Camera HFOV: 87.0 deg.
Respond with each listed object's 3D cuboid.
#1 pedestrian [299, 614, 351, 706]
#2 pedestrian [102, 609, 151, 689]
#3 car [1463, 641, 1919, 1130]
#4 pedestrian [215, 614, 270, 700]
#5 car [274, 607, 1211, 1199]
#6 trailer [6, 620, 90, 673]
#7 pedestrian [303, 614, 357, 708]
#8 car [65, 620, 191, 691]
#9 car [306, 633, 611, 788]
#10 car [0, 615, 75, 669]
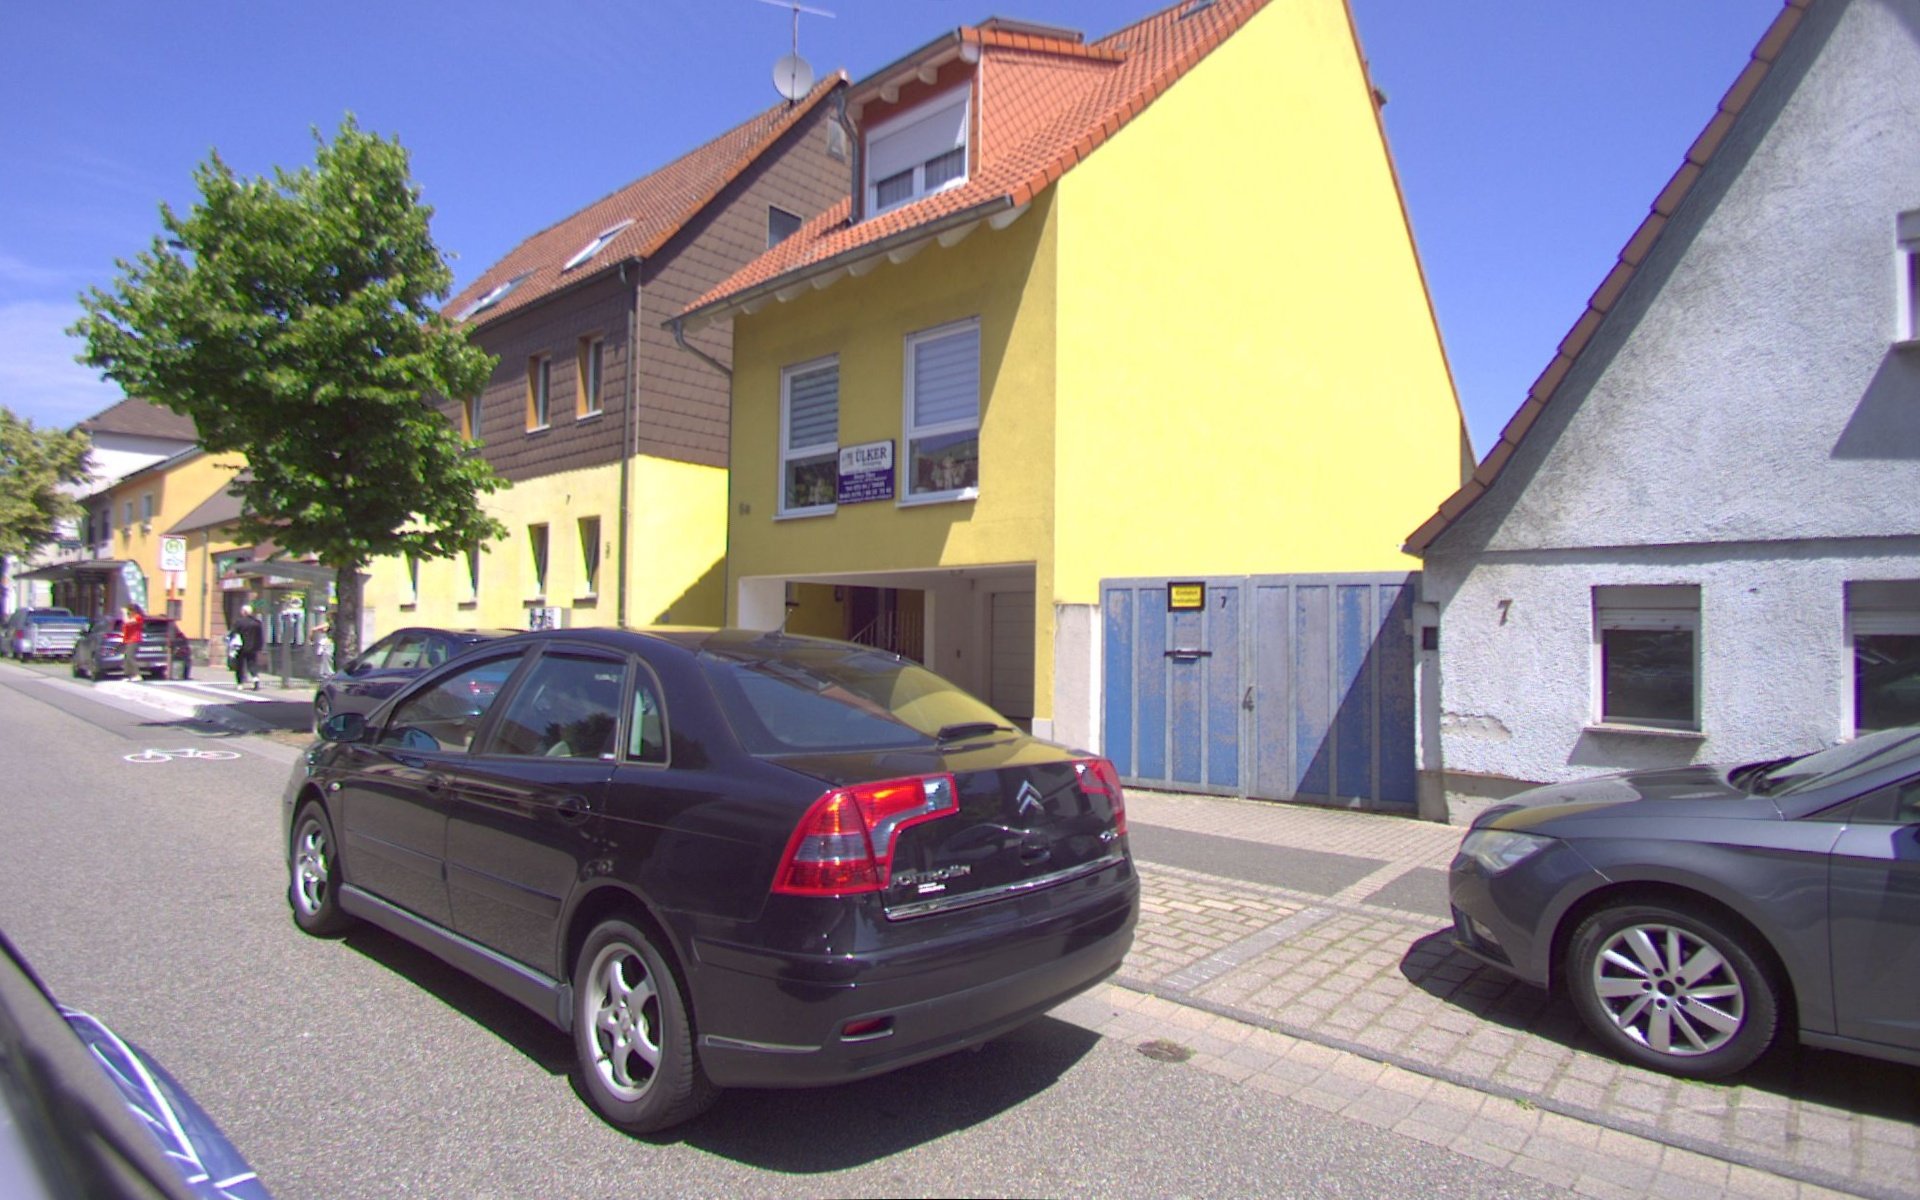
[{"bbox_3d":[-11.424,1.066,18.219,0.528,1.614,0.623,-1,-3,42],"label":"pedestrian"},{"bbox_3d":[-17.728,1.042,21.518,0.624,1.668,0.635,-1,-4,41],"label":"pedestrian"},{"bbox_3d":[3.996,0.895,3.143,4.097,1.441,1.628,-1,-4,42],"label":"car"},{"bbox_3d":[-13.782,1.081,19.438,0.770,1.614,0.654,-1,-3,42],"label":"pedestrian"},{"bbox_3d":[-1.192,0.827,4.146,3.998,1.484,1.671,-1,-4,41],"label":"car"},{"bbox_3d":[-29.621,1.479,32.844,3.879,1.593,1.474,-1,0,39],"label":"trailer"},{"bbox_3d":[-11.034,1.061,17.730,0.528,1.614,0.623,-1,-3,42],"label":"pedestrian"},{"bbox_3d":[-20.247,1.292,24.578,4.156,1.587,1.730,-1,-3,42],"label":"car"},{"bbox_3d":[-5.775,1.104,11.430,4.156,1.418,1.638,-1,-3,42],"label":"car"},{"bbox_3d":[-32.713,1.442,35.695,3.997,1.765,1.674,-1,0,40],"label":"car"}]
